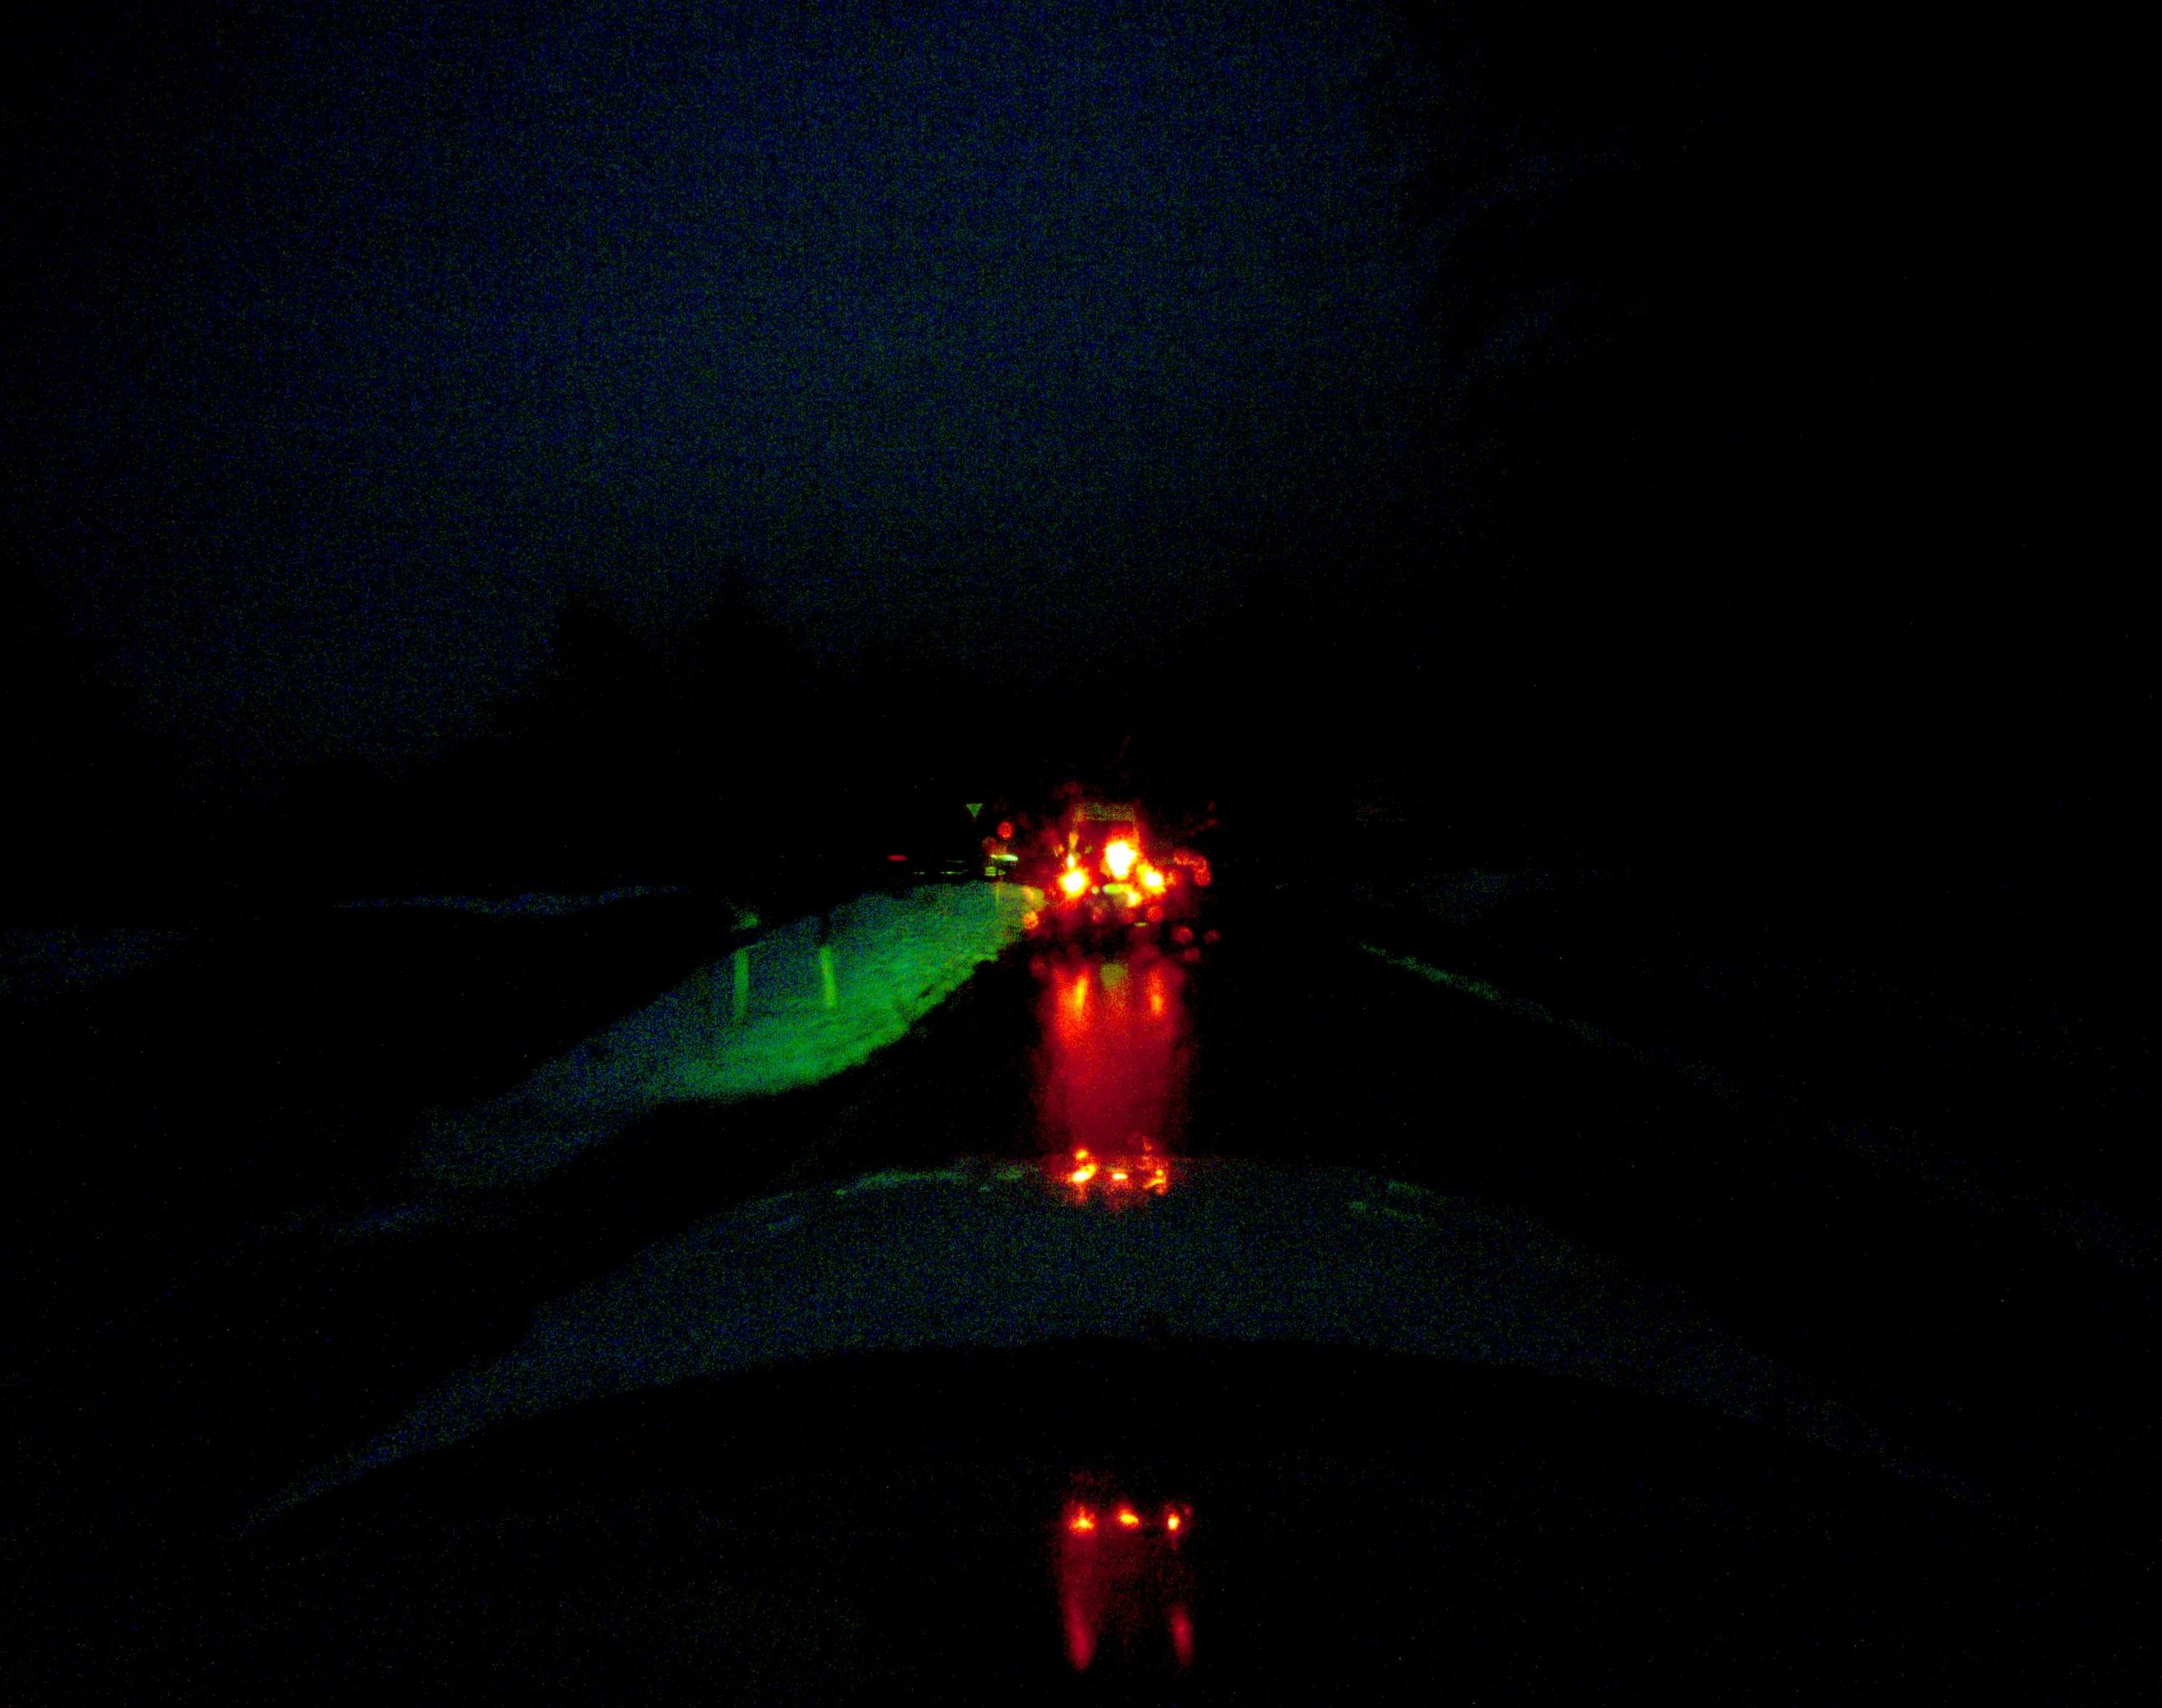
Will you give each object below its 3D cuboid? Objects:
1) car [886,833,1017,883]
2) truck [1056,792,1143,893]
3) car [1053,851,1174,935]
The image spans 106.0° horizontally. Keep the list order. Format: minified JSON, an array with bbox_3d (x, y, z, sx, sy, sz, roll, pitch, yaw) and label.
[{"bbox_3d":[-5.139,0.166,32.525,5.004,1.945,1.679,0,0,-10],"label":"car"},{"bbox_3d":[0.448,-0.311,25.065,2.072,2.746,5.309,0,0,-5],"label":"truck"},{"bbox_3d":[0.561,0.618,14.951,1.915,1.276,4.001,0,1,1],"label":"car"}]
